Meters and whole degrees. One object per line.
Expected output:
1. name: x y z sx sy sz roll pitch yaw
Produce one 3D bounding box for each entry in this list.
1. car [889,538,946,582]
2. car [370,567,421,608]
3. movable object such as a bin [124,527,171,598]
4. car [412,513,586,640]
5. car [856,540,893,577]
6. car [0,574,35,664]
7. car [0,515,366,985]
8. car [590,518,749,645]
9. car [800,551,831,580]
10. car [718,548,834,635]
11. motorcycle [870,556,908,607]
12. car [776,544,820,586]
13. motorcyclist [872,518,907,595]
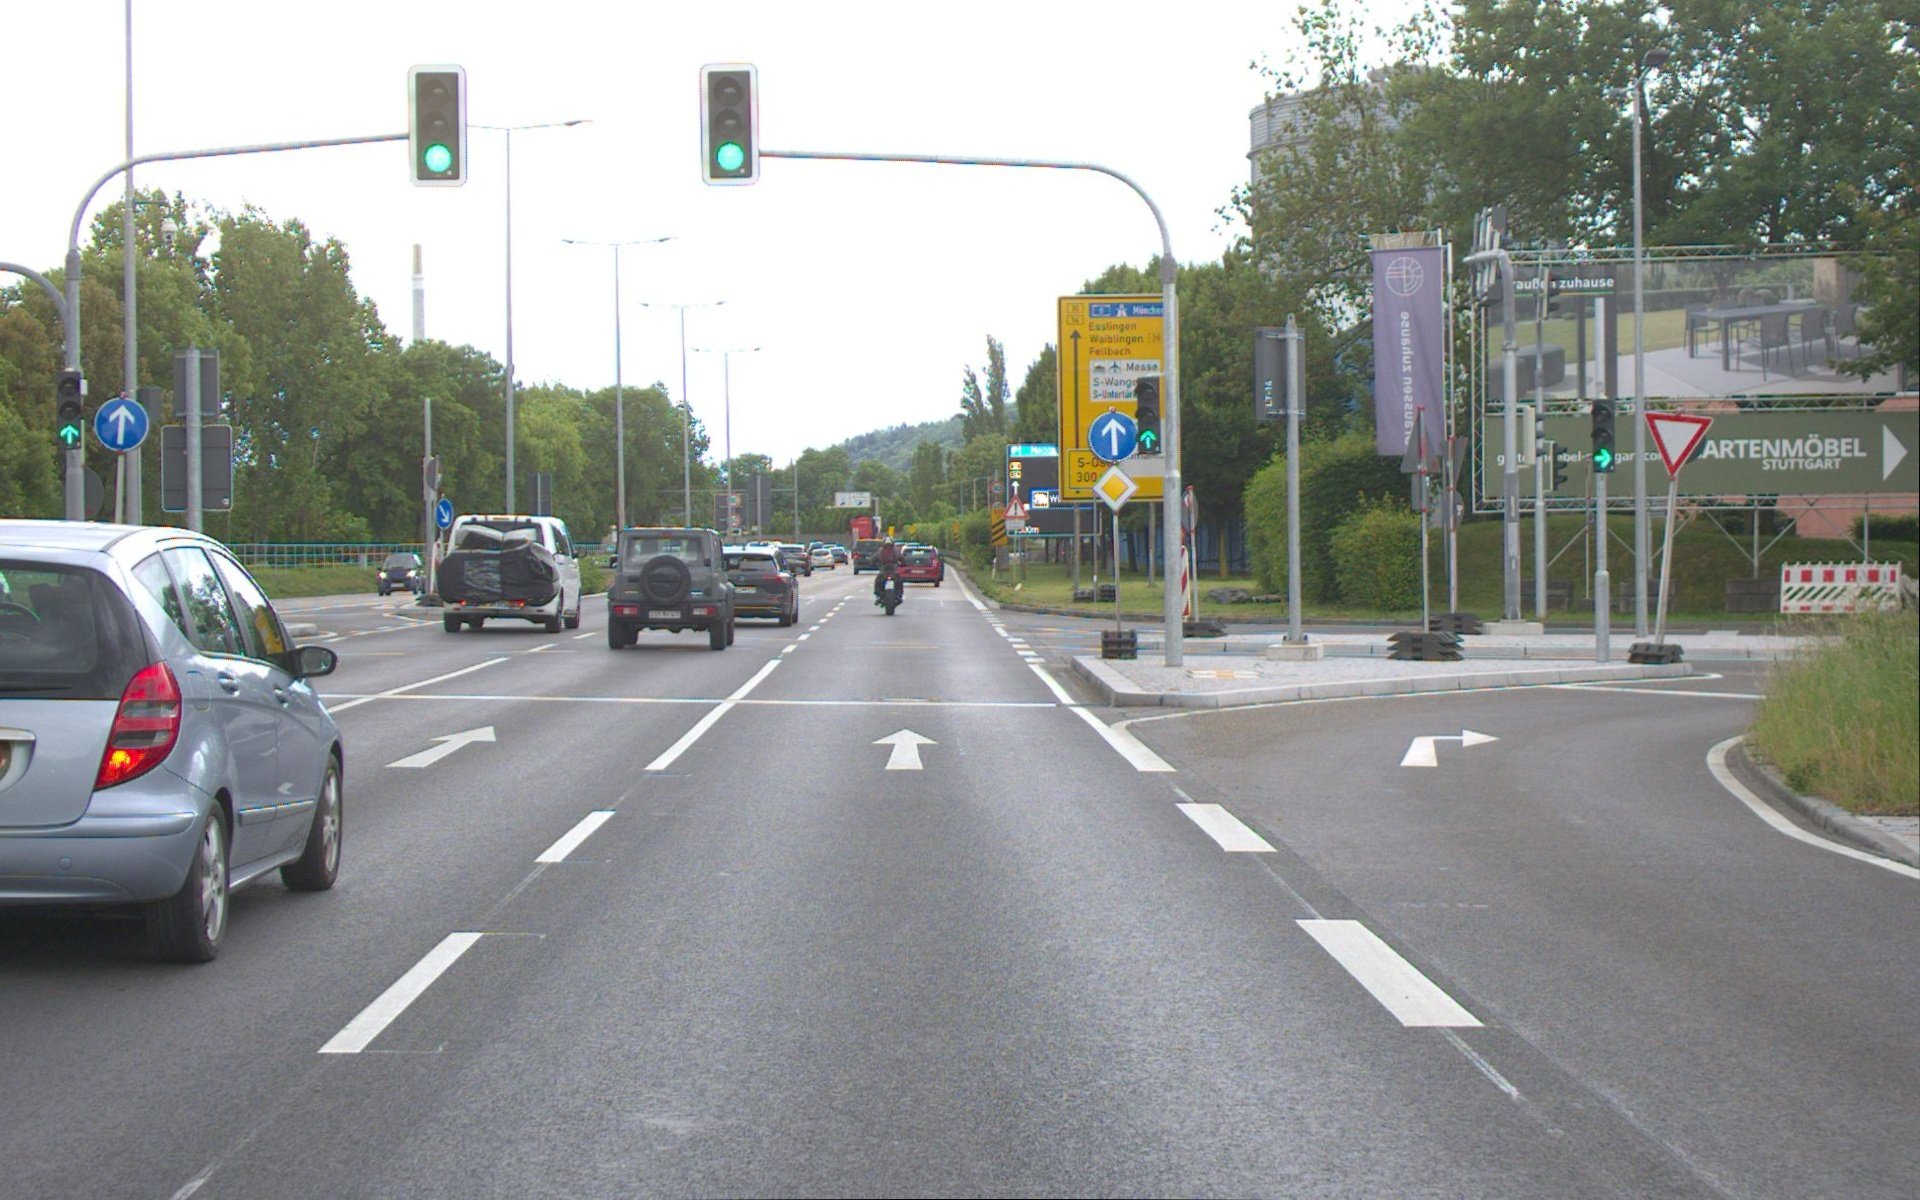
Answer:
1. car: -1.615 -1.513 129.383 1.993 1.546 4.001 2 1 -2
2. car: -21.077 -0.477 128.420 1.472 1.458 2.737 2 1 -1
3. movable object such as a bin: -12.449 -0.576 52.684 0.540 1.055 0.741 2 1 -1
4. car: -7.438 -0.422 55.931 2.214 1.919 5.003 2 1 -1
5. car: -4.810 -2.345 194.612 1.993 2.007 4.000 2 1 -1
6. car: -19.794 0.382 67.836 1.993 1.650 4.288 2 2 -1
7. car: -3.490 0.448 13.410 1.710 1.525 4.000 2 1 -1
8. car: -4.083 -0.300 48.851 1.907 1.678 4.000 2 1 -1
9. car: -10.263 -2.464 244.404 1.993 2.007 4.000 2 1 0
10. car: -3.315 -0.183 62.488 1.840 1.459 4.000 2 1 0
11. motorcycle: -1.511 -0.396 73.314 0.706 1.036 2.027 2 1 1
12. car: -8.166 -1.792 173.582 1.993 2.007 4.000 2 1 -1
13. motorcyclist: -1.498 -0.927 73.323 0.685 1.604 0.845 2 1 1
